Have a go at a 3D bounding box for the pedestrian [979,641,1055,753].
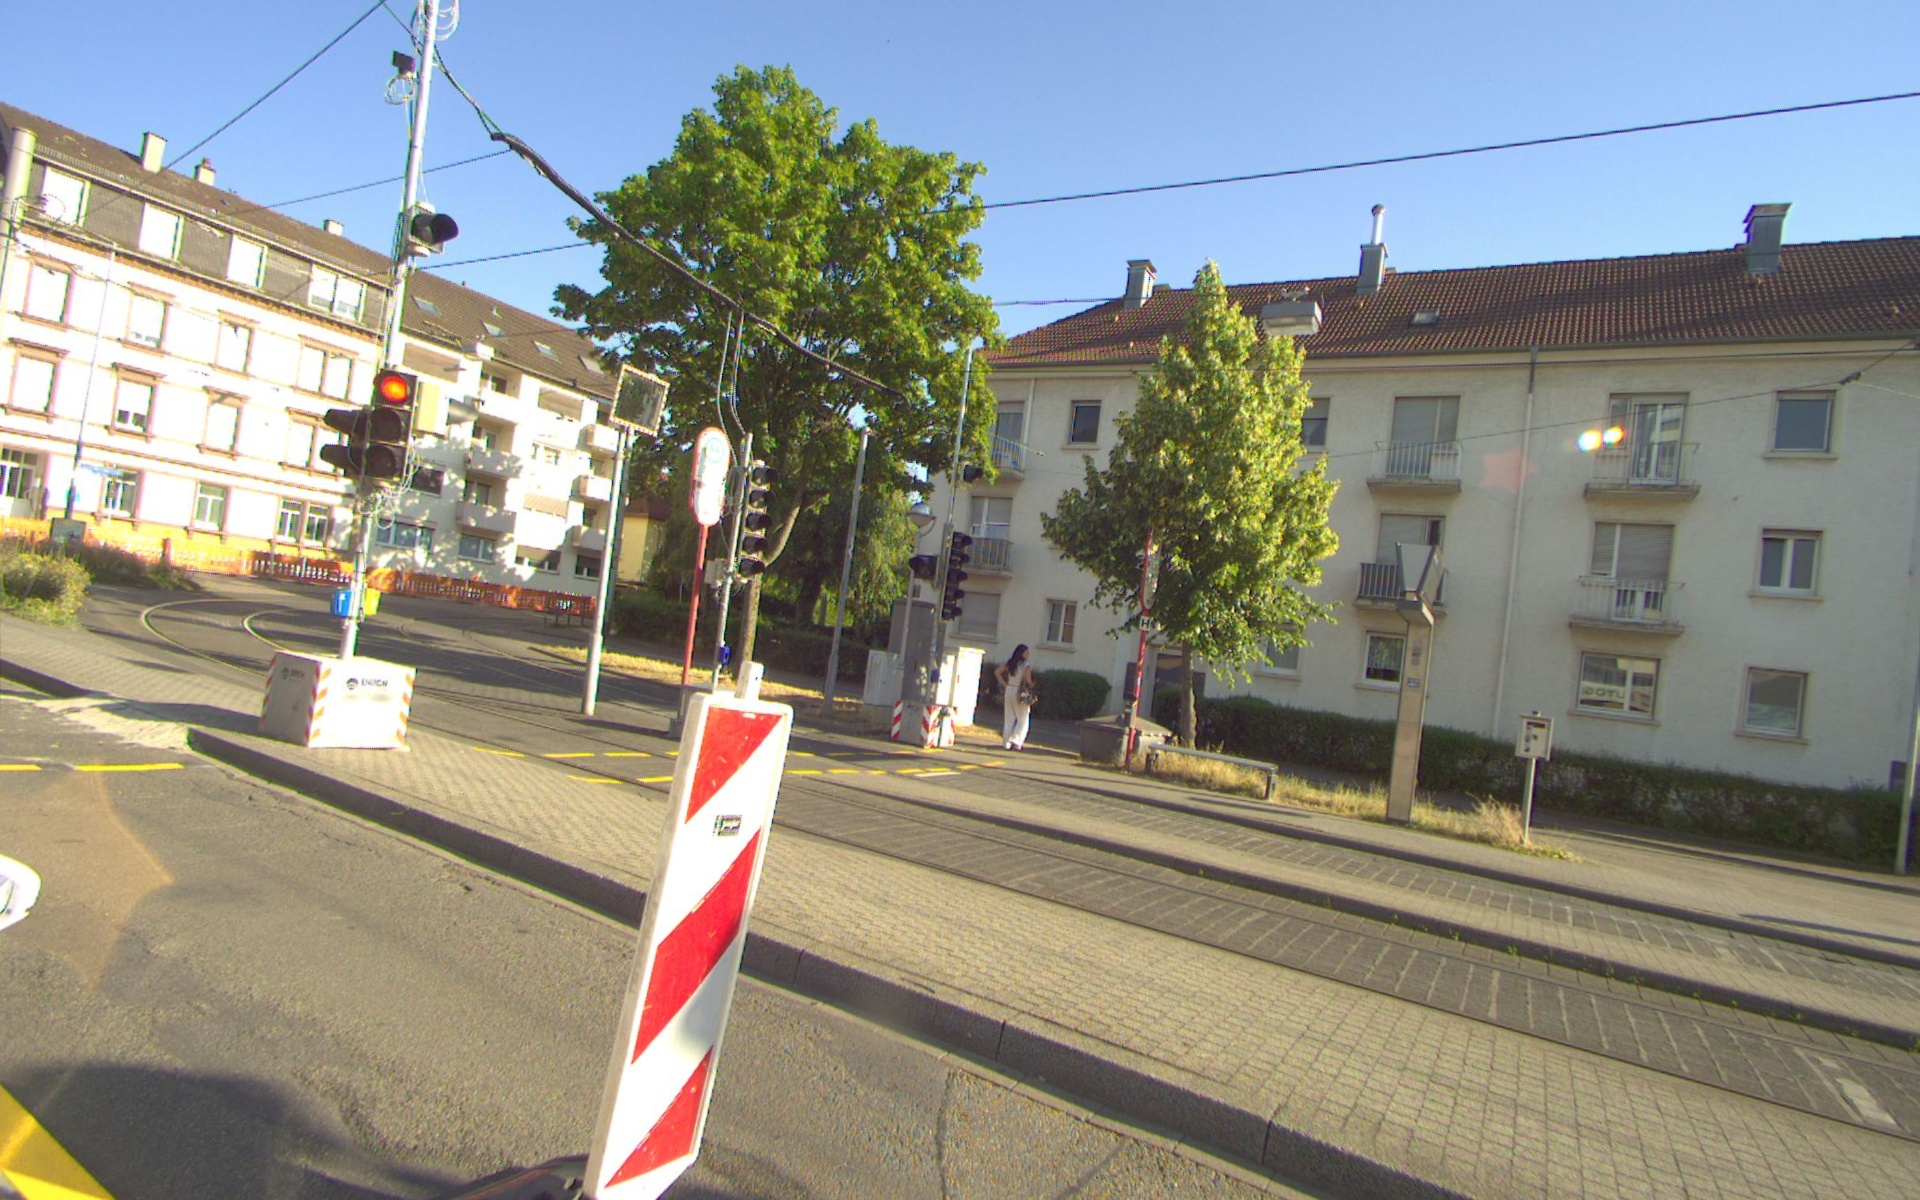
[{"bbox_3d":[0.910,1.524,15.929,0.811,1.639,0.791,7,-1,20],"label":"pedestrian"}]
